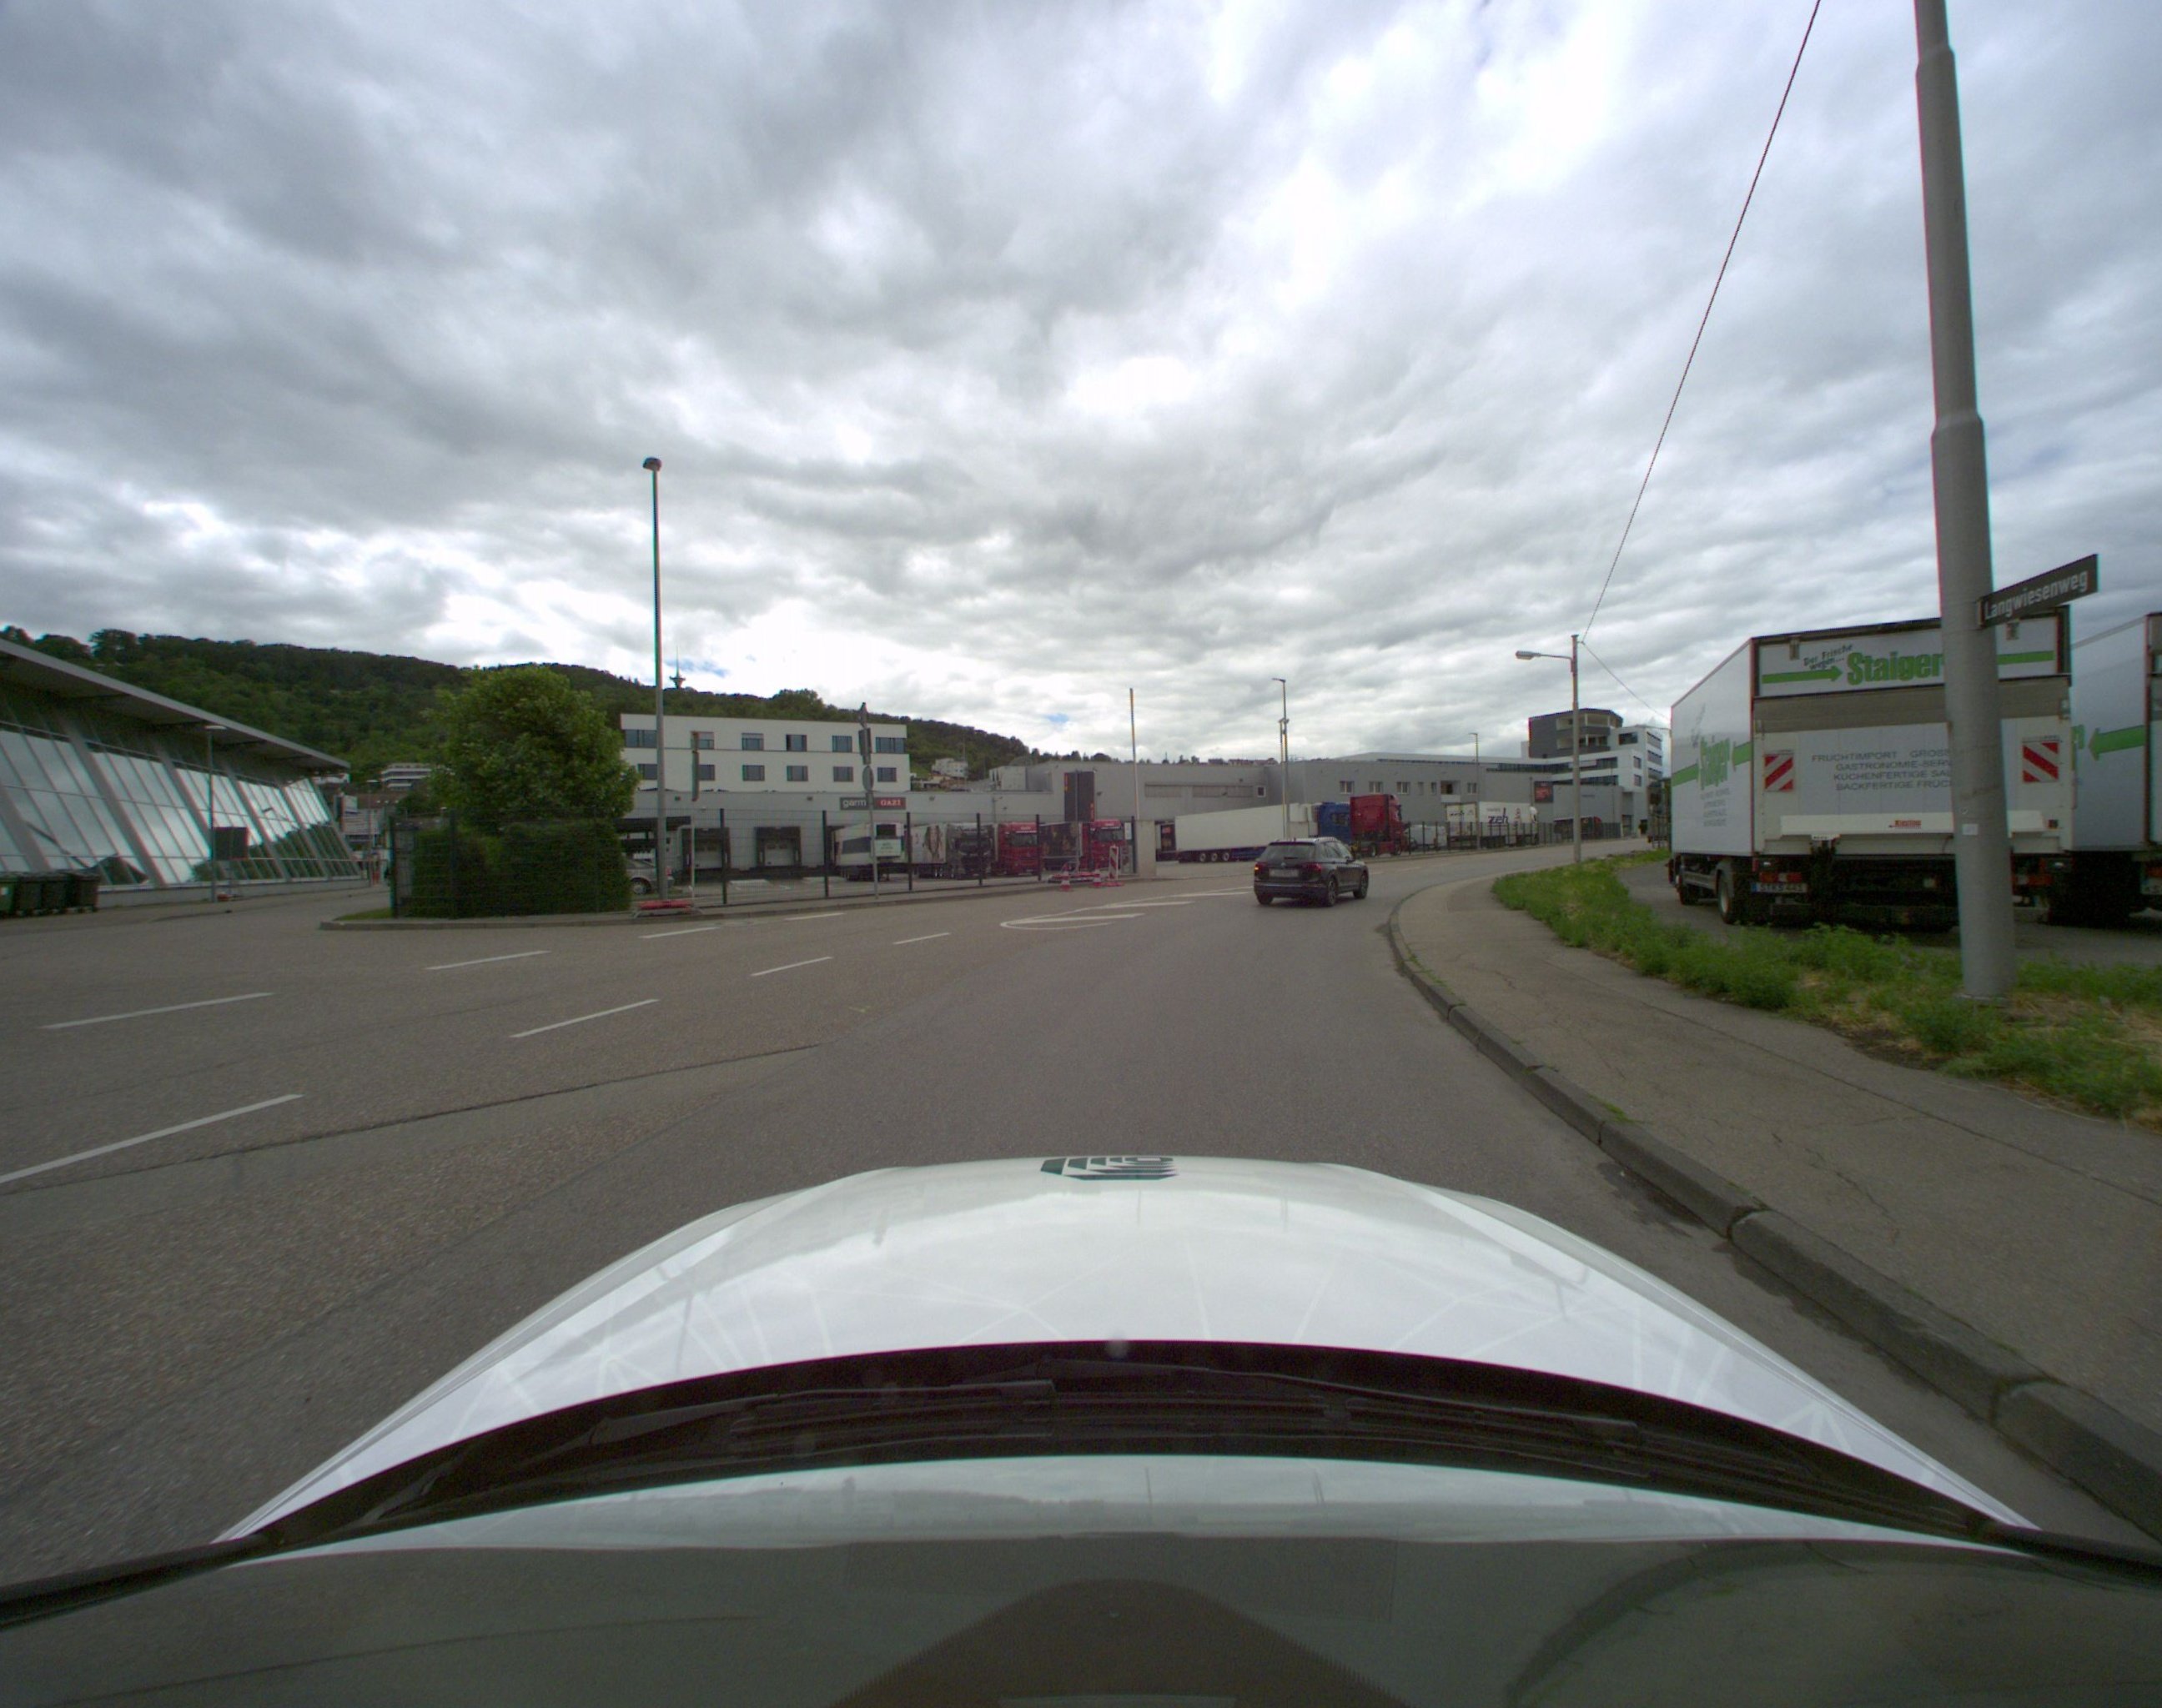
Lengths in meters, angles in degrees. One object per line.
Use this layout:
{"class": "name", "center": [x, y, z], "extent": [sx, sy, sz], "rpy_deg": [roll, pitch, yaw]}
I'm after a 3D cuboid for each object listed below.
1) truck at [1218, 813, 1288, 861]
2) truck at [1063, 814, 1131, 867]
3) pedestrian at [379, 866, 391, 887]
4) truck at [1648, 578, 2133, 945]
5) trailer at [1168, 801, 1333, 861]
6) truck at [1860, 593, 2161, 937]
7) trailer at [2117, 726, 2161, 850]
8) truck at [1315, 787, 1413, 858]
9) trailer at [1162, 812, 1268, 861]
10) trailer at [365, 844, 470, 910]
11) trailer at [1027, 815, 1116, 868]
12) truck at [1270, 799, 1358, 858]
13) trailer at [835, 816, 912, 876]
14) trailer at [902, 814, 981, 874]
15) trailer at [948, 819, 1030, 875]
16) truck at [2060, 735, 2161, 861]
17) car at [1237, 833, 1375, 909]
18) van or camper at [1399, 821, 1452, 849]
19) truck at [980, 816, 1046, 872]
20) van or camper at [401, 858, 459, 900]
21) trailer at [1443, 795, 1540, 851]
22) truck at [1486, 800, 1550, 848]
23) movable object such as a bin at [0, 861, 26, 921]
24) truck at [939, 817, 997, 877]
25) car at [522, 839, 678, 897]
{"class": "truck", "center": [14.786, -1.451, 70.484], "extent": [2.808, 3.928, 5.875], "rpy_deg": [-2, 0, -26]}
{"class": "truck", "center": [1.172, -0.984, 63.316], "extent": [2.808, 3.928, 5.873], "rpy_deg": [-1, 0, -27]}
{"class": "pedestrian", "center": [-56.742, 1.815, 66.420], "extent": [0.632, 1.673, 0.750], "rpy_deg": [-2, 0, -33]}
{"class": "truck", "center": [11.143, -0.951, 12.556], "extent": [3.033, 3.631, 8.659], "rpy_deg": [-1, 0, 29]}
{"class": "trailer", "center": [12.851, -1.631, 63.920], "extent": [3.051, 4.183, 13.858], "rpy_deg": [-2, 0, -38]}
{"class": "truck", "center": [14.778, -0.976, 11.687], "extent": [3.034, 3.630, 8.659], "rpy_deg": [1, 1, 29]}
{"class": "trailer", "center": [34.104, -1.991, 20.979], "extent": [3.027, 3.976, 13.175], "rpy_deg": [-2, 1, 22]}
{"class": "truck", "center": [17.335, -1.848, 49.590], "extent": [2.894, 4.020, 6.983], "rpy_deg": [-1, 0, 44]}
{"class": "trailer", "center": [12.170, -1.493, 75.989], "extent": [2.789, 4.107, 12.982], "rpy_deg": [-2, 0, -25]}
{"class": "trailer", "center": [-21.968, 0.695, 27.137], "extent": [2.006, 2.013, 3.962], "rpy_deg": [-1, 1, -30]}
{"class": "trailer", "center": [-1.008, -0.918, 67.722], "extent": [2.799, 4.077, 10.898], "rpy_deg": [-1, 0, -27]}
{"class": "truck", "center": [17.014, -1.800, 59.448], "extent": [5.544, 4.020, 2.949], "rpy_deg": [-1, 0, 28]}
{"class": "trailer", "center": [-15.680, -0.496, 60.717], "extent": [3.098, 4.077, 11.308], "rpy_deg": [-1, 0, -27]}
{"class": "trailer", "center": [-11.050, -0.671, 63.330], "extent": [2.799, 4.301, 11.082], "rpy_deg": [-1, 0, -27]}
{"class": "trailer", "center": [-7.579, -0.513, 65.053], "extent": [2.799, 4.077, 10.898], "rpy_deg": [-1, 0, -27]}
{"class": "truck", "center": [36.149, -1.823, 25.840], "extent": [3.036, 4.002, 8.081], "rpy_deg": [-1, 0, 23]}
{"class": "car", "center": [5.780, 0.338, 20.522], "extent": [1.974, 1.684, 4.399], "rpy_deg": [-1, 1, 35]}
{"class": "van or camper", "center": [36.456, -2.004, 86.301], "extent": [2.110, 2.762, 4.942], "rpy_deg": [-2, 0, -28]}
{"class": "truck", "center": [-5.083, -0.675, 60.177], "extent": [2.808, 3.928, 5.873], "rpy_deg": [-1, 0, -27]}
{"class": "van or camper", "center": [-35.907, 1.355, 45.021], "extent": [2.114, 2.083, 4.161], "rpy_deg": [-2, 0, -34]}
{"class": "trailer", "center": [36.522, -2.670, 72.001], "extent": [14.102, 4.261, 3.104], "rpy_deg": [-2, -4, -45]}
{"class": "truck", "center": [41.173, -2.788, 76.661], "extent": [6.982, 4.117, 3.099], "rpy_deg": [-2, -4, -45]}
{"class": "movable object such as a bin", "center": [-32.298, 1.104, 23.975], "extent": [1.149, 1.757, 1.049], "rpy_deg": [-2, 0, -28]}
{"class": "truck", "center": [-8.032, -0.468, 57.420], "extent": [2.809, 4.040, 4.128], "rpy_deg": [-1, 0, -27]}
{"class": "car", "center": [-15.766, 0.422, 26.819], "extent": [4.264, 1.670, 2.052], "rpy_deg": [-2, 0, -33]}
